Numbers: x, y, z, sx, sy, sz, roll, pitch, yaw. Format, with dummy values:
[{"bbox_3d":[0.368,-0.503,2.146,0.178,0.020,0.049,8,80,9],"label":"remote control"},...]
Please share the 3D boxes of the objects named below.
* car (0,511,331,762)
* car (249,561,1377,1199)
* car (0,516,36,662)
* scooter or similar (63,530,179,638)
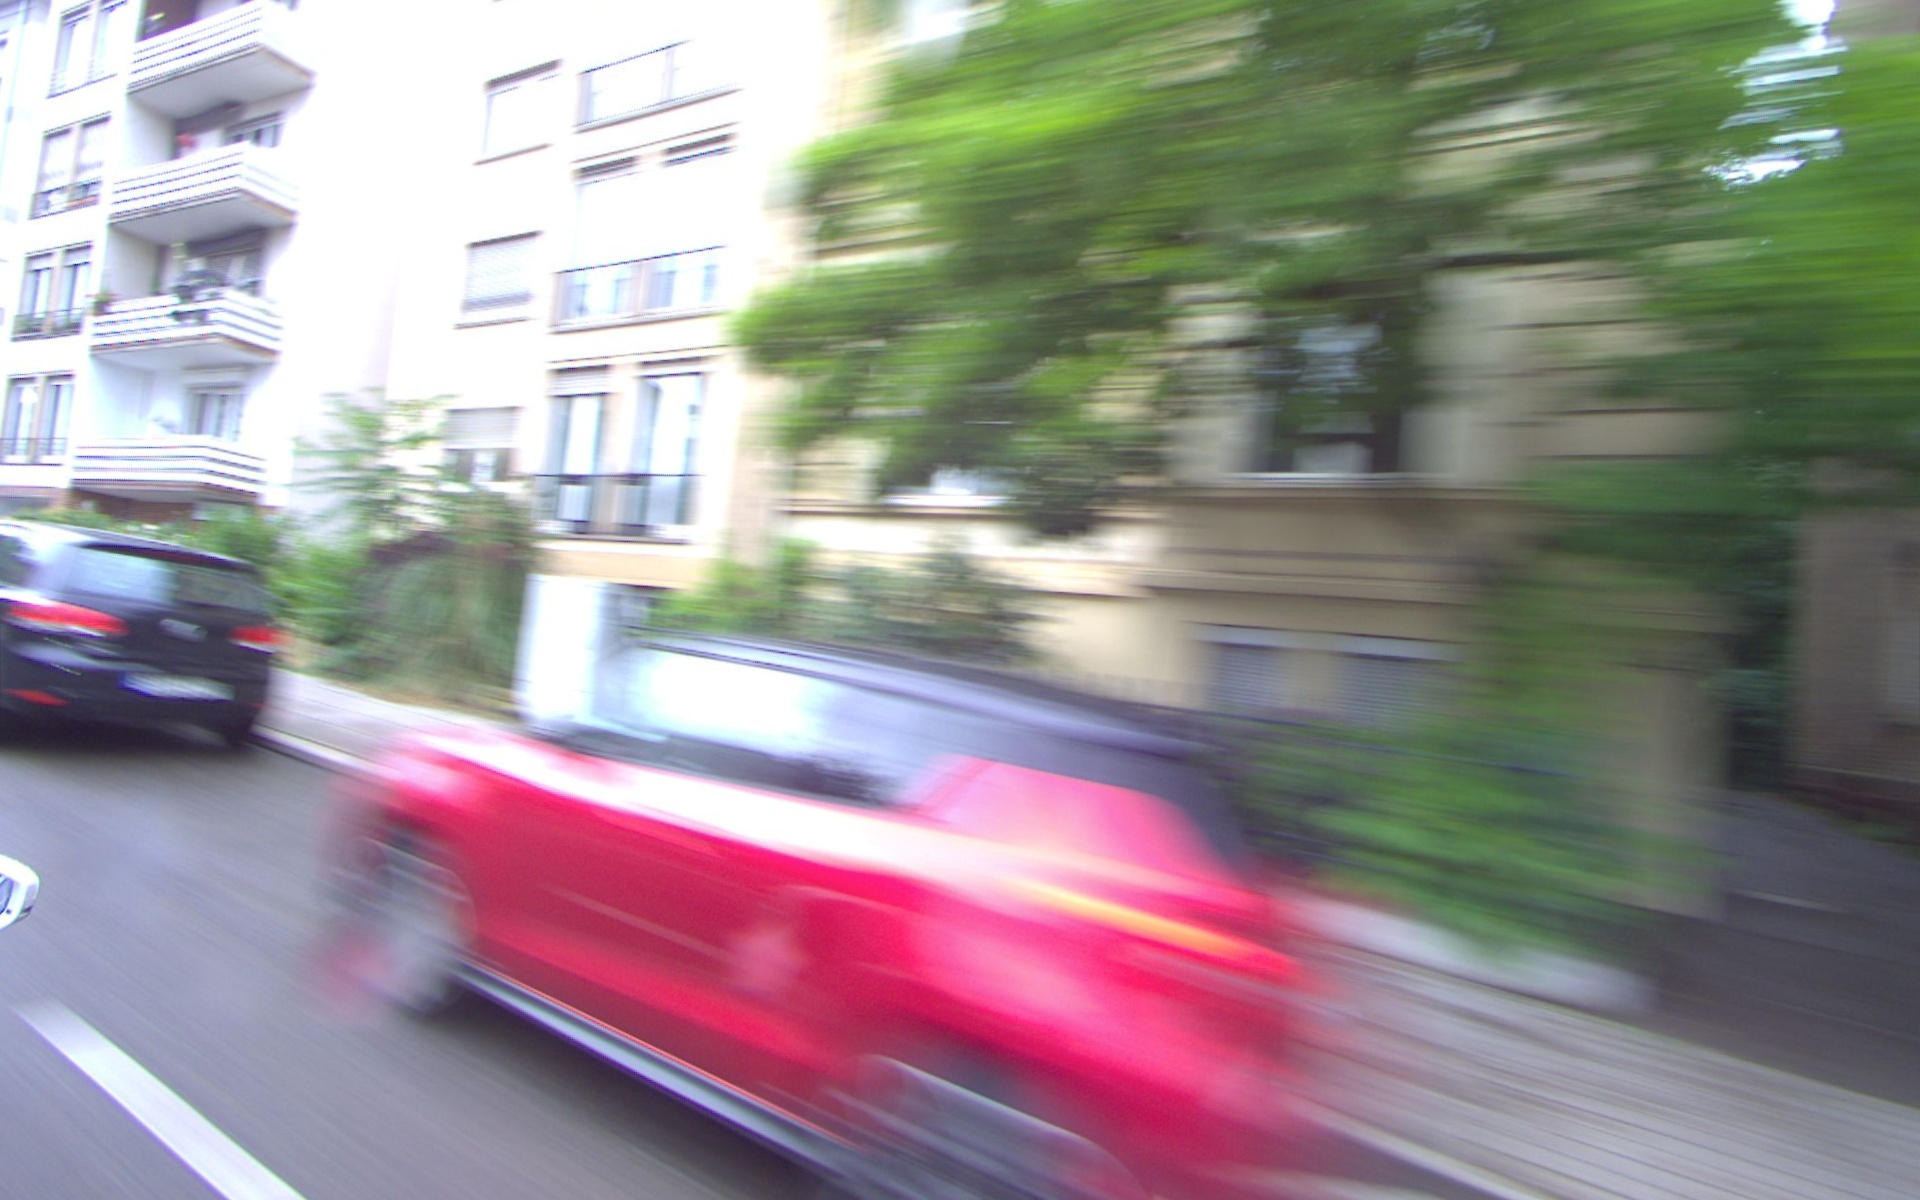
[{"bbox_3d":[-6.878,0.128,7.678,3.995,1.452,1.688,7,-3,30],"label":"car"},{"bbox_3d":[-0.693,0.862,3.726,3.778,1.452,1.726,7,-3,32],"label":"car"},{"bbox_3d":[-11.817,-0.414,10.629,4.228,1.452,1.562,7,-3,28],"label":"car"},{"bbox_3d":[-11.118,-0.205,13.335,1.176,1.250,0.470,8,1,13],"label":"scooter or similar"}]
